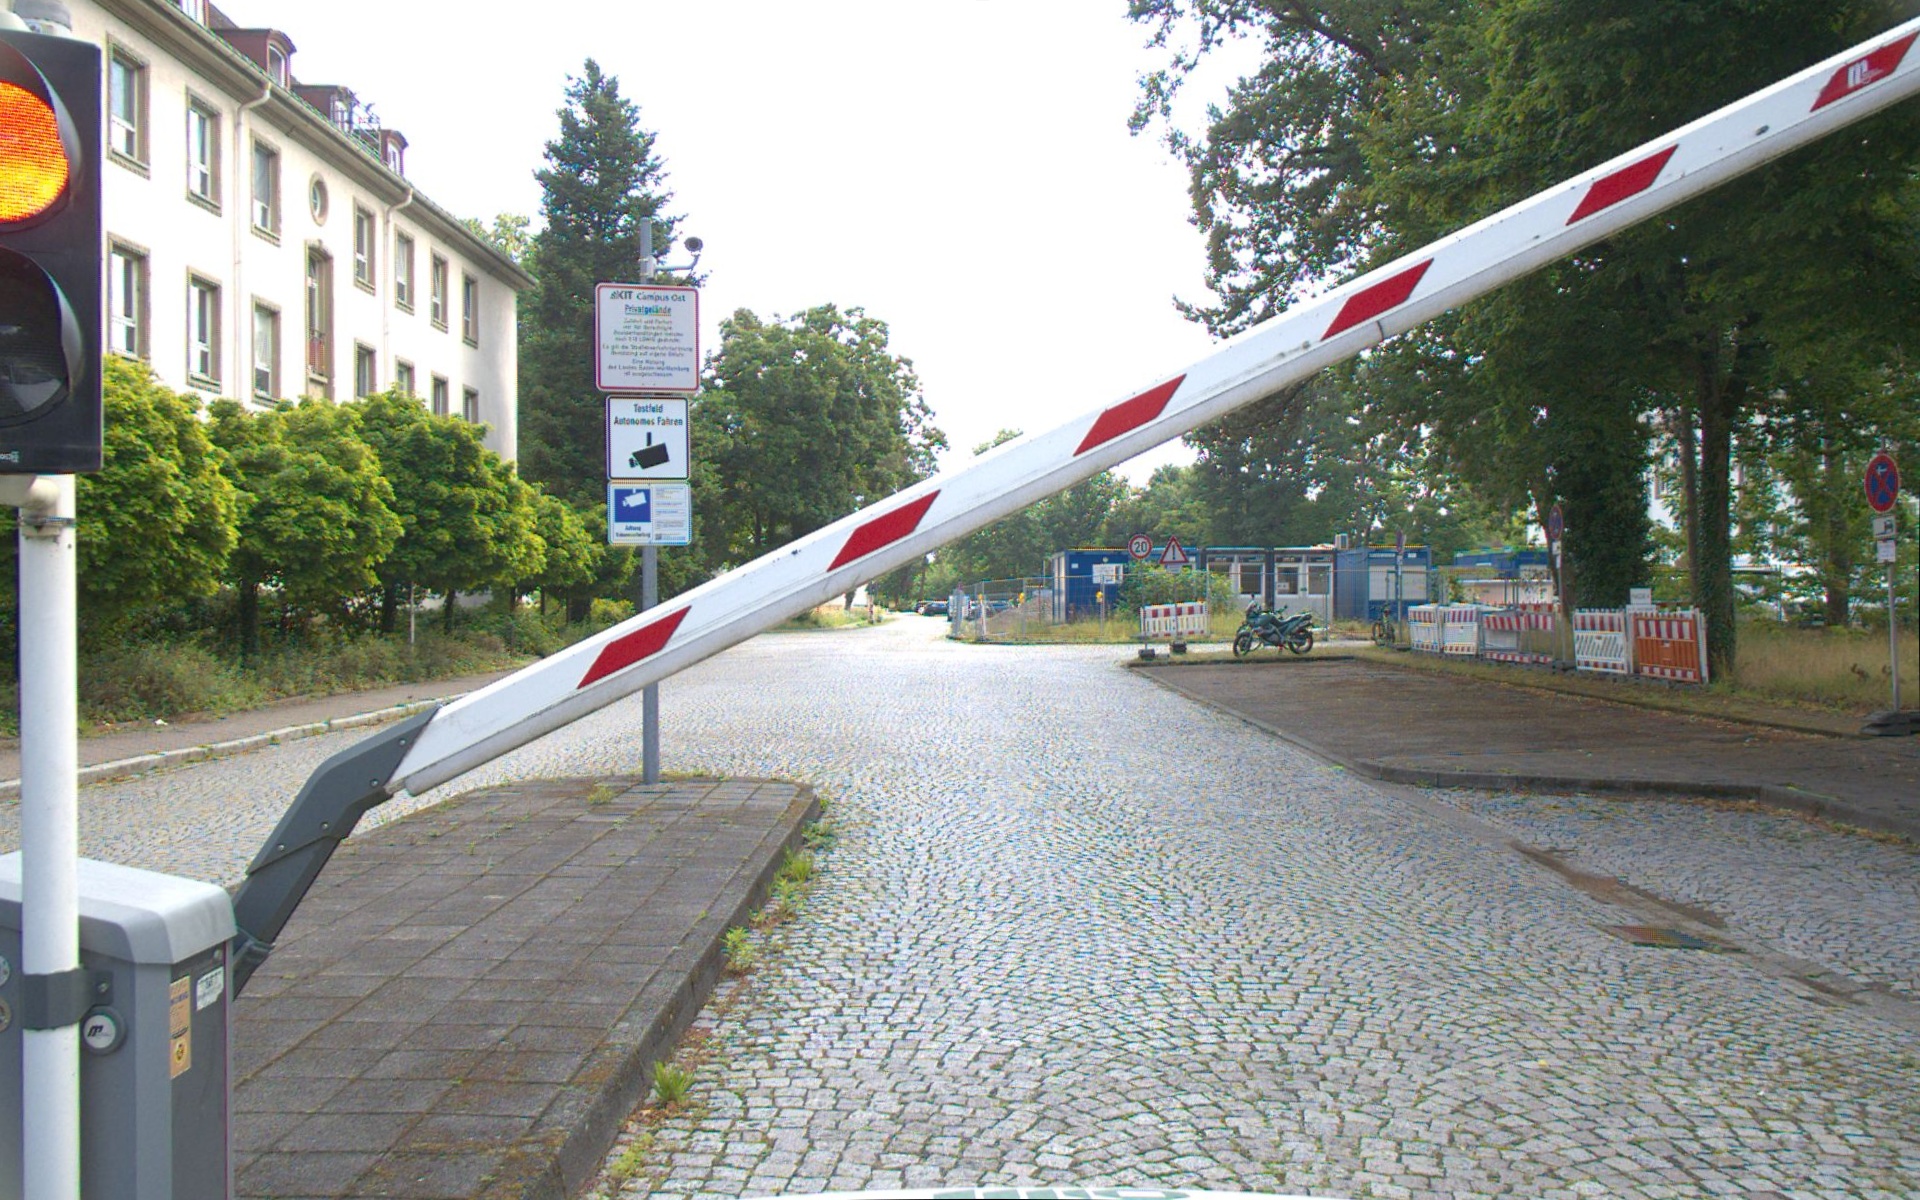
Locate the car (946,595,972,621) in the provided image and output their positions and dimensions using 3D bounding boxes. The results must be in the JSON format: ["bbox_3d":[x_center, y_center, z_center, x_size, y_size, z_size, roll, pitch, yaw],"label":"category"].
[{"bbox_3d":[-0.118,0.621,131.365,1.953,2.049,4.089,0,0,-2],"label":"car"}]

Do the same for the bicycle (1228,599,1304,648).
[{"bbox_3d":[7.921,0.608,42.795,1.859,1.218,0.656,-1,0,19],"label":"bicycle"}]

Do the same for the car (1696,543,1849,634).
[{"bbox_3d":[24.915,-0.327,51.000,1.952,2.601,5.911,1,0,2],"label":"car"}]

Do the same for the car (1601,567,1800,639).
[{"bbox_3d":[20.784,0.058,46.537,4.758,1.954,1.907,0,1,0],"label":"car"}]

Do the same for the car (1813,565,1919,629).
[{"bbox_3d":[28.313,-0.057,50.628,1.952,1.857,4.875,1,0,1],"label":"car"}]

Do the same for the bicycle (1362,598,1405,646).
[{"bbox_3d":[10.691,0.544,41.832,0.629,1.189,1.905,-1,0,2],"label":"bicycle"}]

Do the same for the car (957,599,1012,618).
[{"bbox_3d":[2.070,0.720,137.021,4.309,1.537,2.001,1,0,7],"label":"car"}]

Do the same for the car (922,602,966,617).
[{"bbox_3d":[-1.733,1.020,179.737,4.688,1.669,1.997,0,0,-6],"label":"car"}]

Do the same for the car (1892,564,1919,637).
[{"bbox_3d":[26.074,0.025,41.079,1.970,1.857,4.832,1,0,-27],"label":"car"}]

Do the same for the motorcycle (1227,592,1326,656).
[{"bbox_3d":[7.703,0.580,40.291,2.232,1.511,0.756,-1,0,-6],"label":"motorcycle"}]
